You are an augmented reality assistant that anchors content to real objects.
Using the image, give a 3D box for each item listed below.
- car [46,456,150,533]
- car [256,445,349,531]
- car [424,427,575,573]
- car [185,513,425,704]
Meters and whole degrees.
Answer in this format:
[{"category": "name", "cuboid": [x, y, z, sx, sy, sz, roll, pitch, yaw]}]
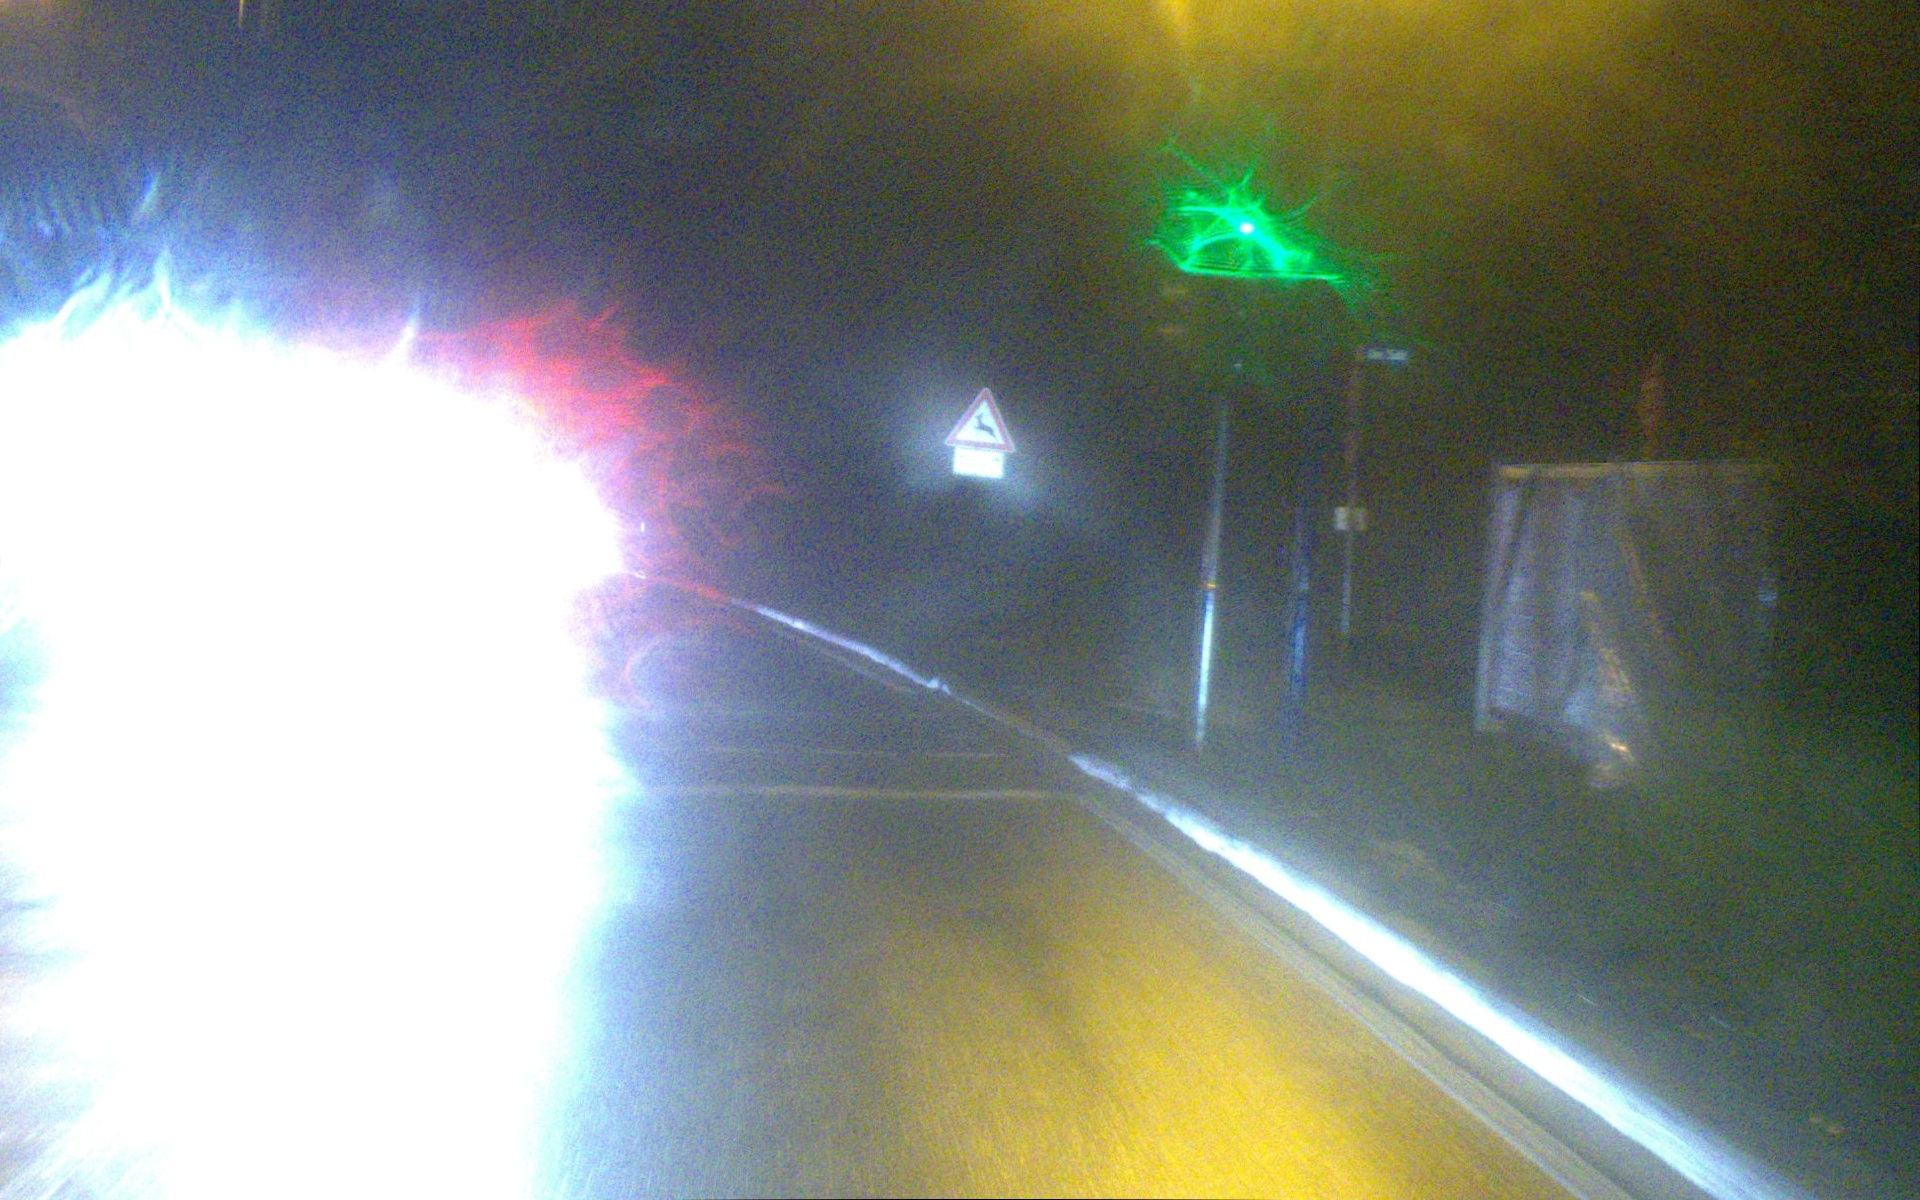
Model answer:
[{"category": "car", "cuboid": [-24.714, -3.000, 98.413, 1.993, 2.007, 4.847, 3, 0, -24]}, {"category": "car", "cuboid": [-17.252, -2.900, 90.101, 1.993, 2.007, 4.001, 3, -1, -15]}, {"category": "car", "cuboid": [-8.586, -1.904, 63.661, 2.538, 2.489, 5.717, 1, 3, -10]}, {"category": "car", "cuboid": [-5.518, 0.045, 29.356, 1.635, 1.505, 4.118, 0, 1, -5]}]
